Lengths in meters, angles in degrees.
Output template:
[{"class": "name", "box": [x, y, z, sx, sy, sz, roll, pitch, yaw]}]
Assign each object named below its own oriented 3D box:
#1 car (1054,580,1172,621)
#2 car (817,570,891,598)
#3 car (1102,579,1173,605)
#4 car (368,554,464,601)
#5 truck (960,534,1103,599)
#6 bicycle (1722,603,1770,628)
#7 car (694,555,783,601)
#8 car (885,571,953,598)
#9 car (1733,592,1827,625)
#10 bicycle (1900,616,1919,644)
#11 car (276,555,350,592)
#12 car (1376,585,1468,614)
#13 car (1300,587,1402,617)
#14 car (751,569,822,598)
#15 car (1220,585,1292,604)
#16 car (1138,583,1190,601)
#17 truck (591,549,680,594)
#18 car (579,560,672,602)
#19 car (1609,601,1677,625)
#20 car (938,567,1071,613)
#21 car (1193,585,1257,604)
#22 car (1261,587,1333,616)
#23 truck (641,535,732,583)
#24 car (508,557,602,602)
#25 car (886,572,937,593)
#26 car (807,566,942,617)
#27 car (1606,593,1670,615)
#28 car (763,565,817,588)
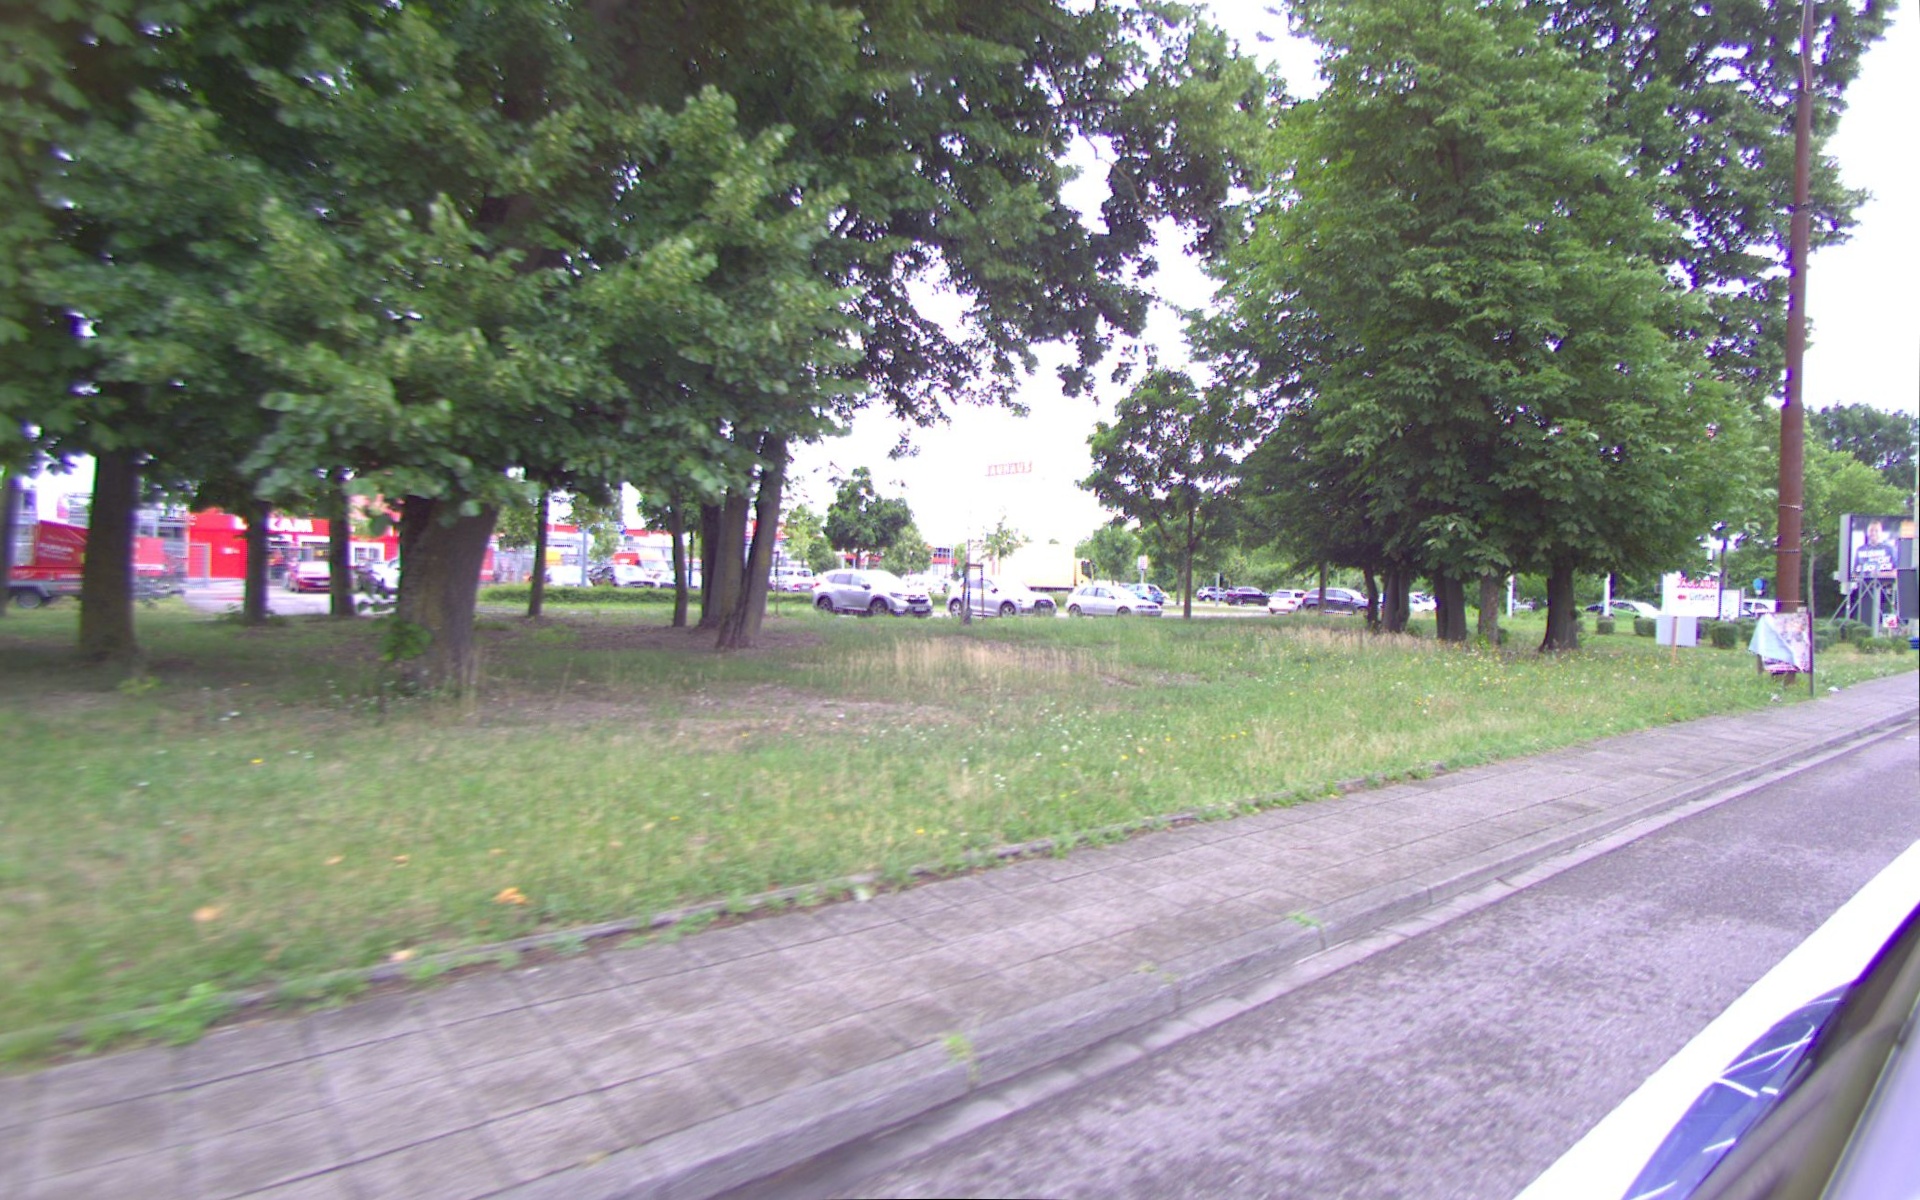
[{"class": "car", "box": [6.015, 0.019, 40.116, 1.899, 1.516, 4.448, 0, 0, -43]}, {"class": "car", "box": [-6.896, -1.060, 65.776, 4.538, 1.697, 2.129, 3, 2, 35]}, {"class": "car", "box": [11.805, -0.542, 67.478, 1.951, 1.525, 4.566, 1, 2, -38]}, {"class": "car", "box": [-21.042, -0.892, 39.041, 2.119, 1.697, 4.558, 0, 2, -44]}, {"class": "truck", "box": [4.410, -1.883, 60.496, 9.085, 3.609, 2.945, 0, 0, -40]}, {"class": "bicycle", "box": [38.651, 0.760, 49.801, 1.780, 1.132, 0.486, 2, 1, 14]}, {"class": "car", "box": [-10.708, -1.085, 48.804, 2.119, 2.076, 4.558, 0, 2, -44]}, {"class": "car", "box": [-2.873, -1.089, 70.046, 2.120, 1.697, 4.556, 0, 2, -45]}, {"class": "car", "box": [50.415, 0.505, 62.336, 1.842, 1.851, 4.427, 0, 1, -6]}, {"class": "bicycle", "box": [41.048, 1.302, 42.709, 0.570, 1.163, 1.899, 1, 1, -22]}, {"class": "car", "box": [-30.202, -1.263, 47.163, 2.119, 1.575, 4.559, 0, 2, -43]}, {"class": "car", "box": [25.318, -0.019, 55.534, 1.898, 1.516, 4.226, 0, 0, -42]}, {"class": "car", "box": [20.072, 0.088, 52.088, 1.899, 1.516, 4.603, 0, 0, -43]}, {"class": "car", "box": [-10.824, -1.042, 62.964, 2.119, 1.697, 4.558, 0, 2, -44]}, {"class": "car", "box": [25.903, -0.527, 88.637, 5.609, 1.458, 2.159, 1, 1, -8]}, {"class": "car", "box": [24.167, -0.910, 120.061, 5.619, 1.917, 2.155, 2, 1, 1]}, {"class": "truck", "box": [-20.888, -1.897, 64.872, 2.442, 2.667, 7.873, 1, 2, -41]}, {"class": "car", "box": [-14.666, -0.861, 44.239, 2.119, 1.697, 4.558, 0, 2, -44]}, {"class": "car", "box": [46.556, 0.845, 69.088, 1.750, 1.552, 4.002, 0, 0, -3]}, {"class": "car", "box": [1.501, -0.345, 36.002, 2.132, 1.516, 4.683, 0, 0, -40]}, {"class": "car", "box": [25.932, -0.527, 99.033, 5.609, 1.697, 2.159, 1, 1, -8]}, {"class": "car", "box": [20.186, 0.078, 60.569, 4.423, 1.691, 1.999, 0, 0, -38]}, {"class": "truck", "box": [-17.783, -2.671, 65.460, 2.442, 2.851, 7.873, 1, 2, -41]}, {"class": "car", "box": [-16.952, -0.879, 42.265, 2.119, 1.697, 4.558, 0, 2, -44]}, {"class": "car", "box": [-4.394, -1.578, 91.613, 2.119, 1.697, 4.558, 0, 2, -44]}, {"class": "car", "box": [-2.771, -0.260, 32.051, 1.927, 1.516, 4.535, 0, 0, -43]}, {"class": "car", "box": [49.755, 0.280, 74.350, 1.663, 1.500, 4.070, 2, 1, -4]}, {"class": "car", "box": [-13.827, -1.917, 82.219, 2.119, 1.697, 4.558, 0, 2, -44]}]
